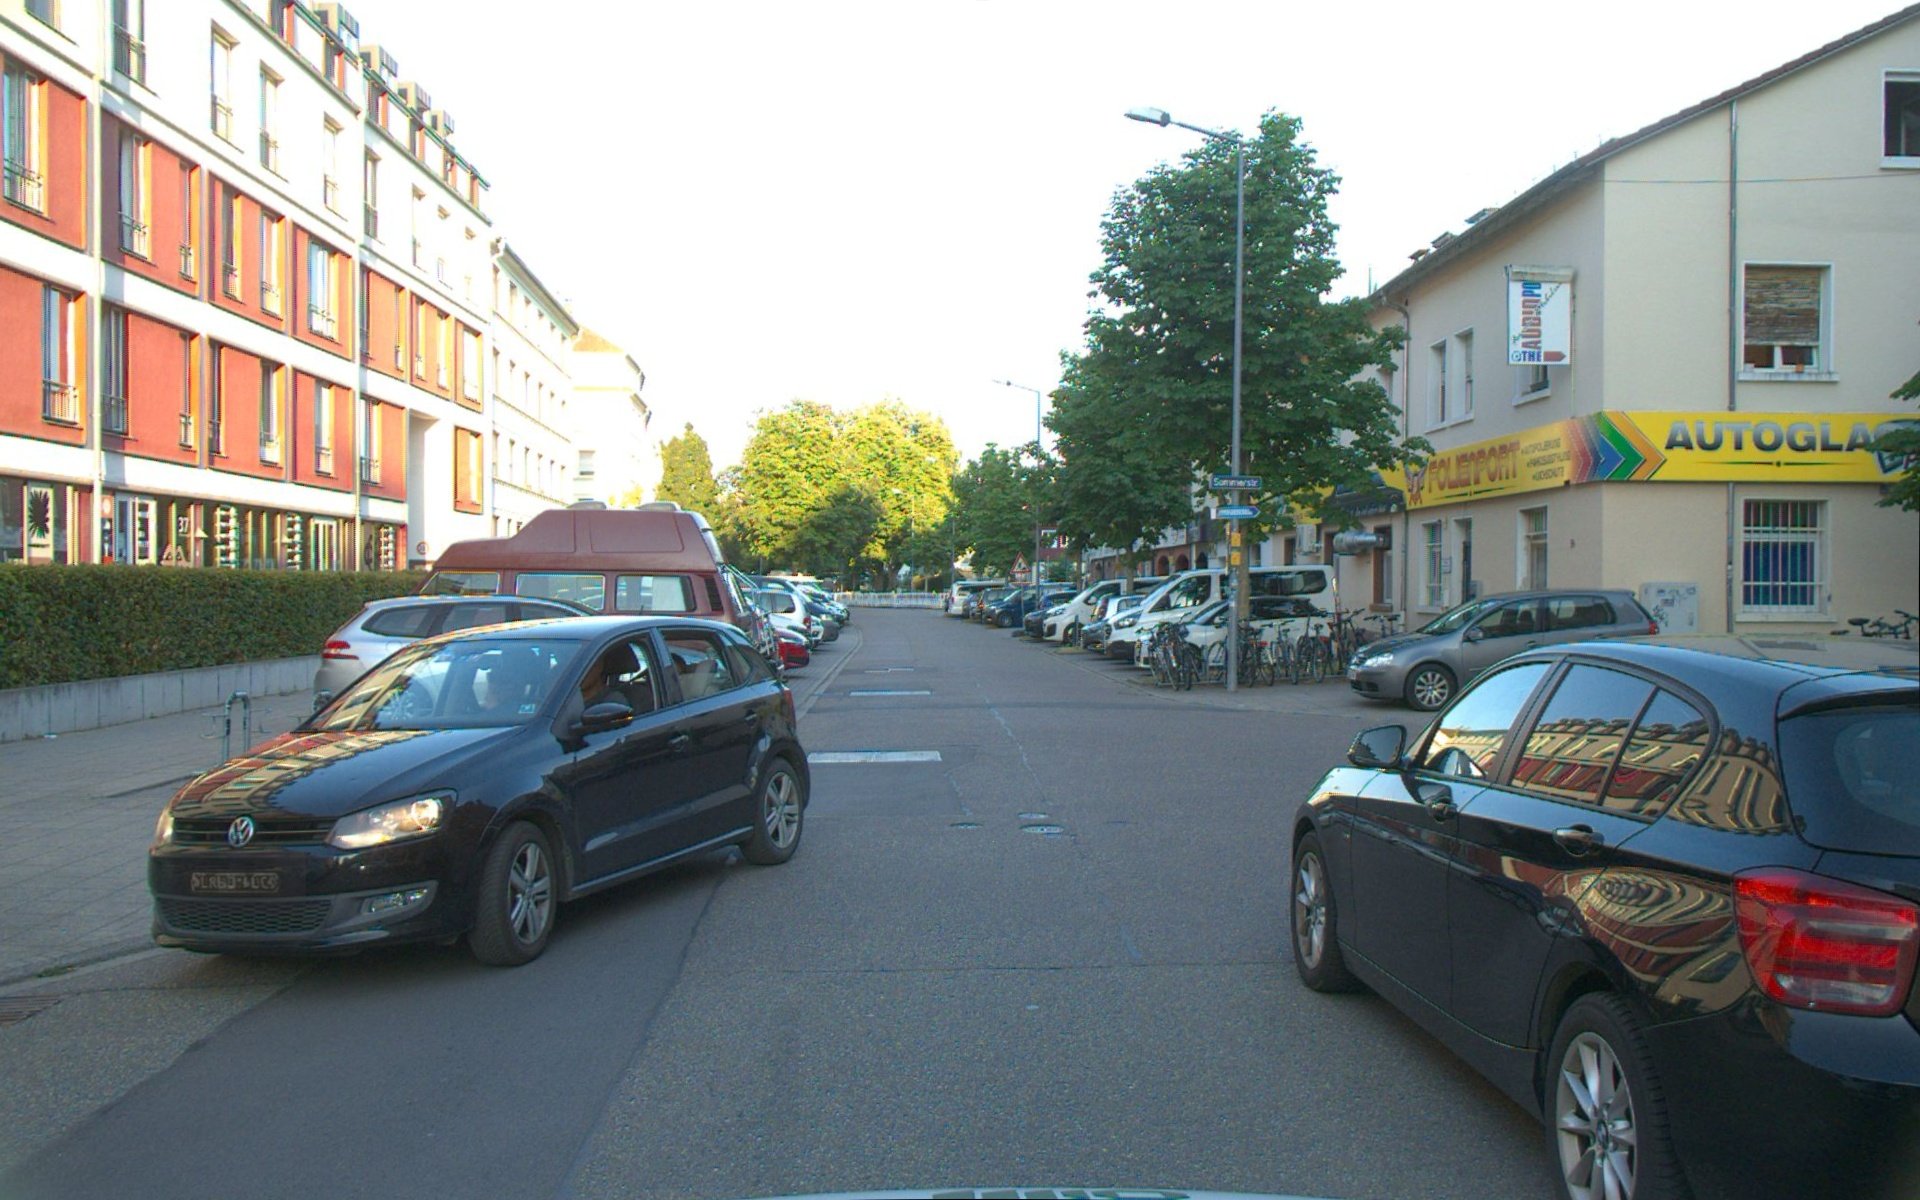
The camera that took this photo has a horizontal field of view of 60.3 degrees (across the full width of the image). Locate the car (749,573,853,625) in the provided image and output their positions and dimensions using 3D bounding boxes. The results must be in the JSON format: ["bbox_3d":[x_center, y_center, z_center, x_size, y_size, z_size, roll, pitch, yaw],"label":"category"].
[{"bbox_3d":[-7.045,-0.058,73.806,4.442,2.171,1.999,1,0,-2],"label":"car"}]

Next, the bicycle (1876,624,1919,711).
[{"bbox_3d":[12.398,0.847,20.500,1.812,1.027,0.428,1,2,-1],"label":"bicycle"}]

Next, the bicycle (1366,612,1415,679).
[{"bbox_3d":[7.092,0.733,27.278,0.380,1.035,1.481,-1,0,-1],"label":"bicycle"}]

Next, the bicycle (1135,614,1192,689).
[{"bbox_3d":[3.306,0.817,27.027,0.430,1.150,2.014,-1,0,-7],"label":"bicycle"}]

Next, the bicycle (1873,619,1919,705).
[{"bbox_3d":[12.506,0.795,21.030,1.569,1.059,0.343,1,2,-1],"label":"bicycle"}]

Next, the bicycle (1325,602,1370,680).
[{"bbox_3d":[6.344,0.655,27.130,0.346,1.221,1.481,-1,0,-1],"label":"bicycle"}]

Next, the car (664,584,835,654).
[{"bbox_3d":[-5.400,0.475,42.791,4.171,1.681,1.887,1,0,-2],"label":"car"}]

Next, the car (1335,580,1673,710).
[{"bbox_3d":[7.229,0.576,22.240,3.968,1.540,1.756,-1,2,-1],"label":"car"}]

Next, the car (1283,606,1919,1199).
[{"bbox_3d":[2.292,0.785,4.920,1.687,1.449,4.252,1,0,-2],"label":"car"}]

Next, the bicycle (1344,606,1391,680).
[{"bbox_3d":[6.696,0.687,27.221,0.346,1.163,1.481,-1,0,-1],"label":"bicycle"}]

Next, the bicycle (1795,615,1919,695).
[{"bbox_3d":[12.276,0.755,22.587,1.570,1.037,0.343,1,2,-3],"label":"bicycle"}]

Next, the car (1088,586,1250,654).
[{"bbox_3d":[5.276,0.492,42.193,3.832,1.552,1.939,-2,0,-1],"label":"car"}]

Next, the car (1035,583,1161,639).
[{"bbox_3d":[4.913,0.390,59.220,4.231,1.835,1.810,-2,0,-3],"label":"car"}]

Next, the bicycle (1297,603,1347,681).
[{"bbox_3d":[5.923,0.671,27.127,0.436,1.221,1.481,-1,0,-1],"label":"bicycle"}]

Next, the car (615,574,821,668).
[{"bbox_3d":[-5.204,0.436,35.967,4.171,1.868,1.999,1,0,-2],"label":"car"}]

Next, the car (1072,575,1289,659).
[{"bbox_3d":[5.198,0.389,39.477,4.844,1.772,2.049,-2,0,-1],"label":"car"}]

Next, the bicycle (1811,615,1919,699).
[{"bbox_3d":[12.383,0.766,22.243,1.696,1.088,0.343,1,2,-3],"label":"bicycle"}]

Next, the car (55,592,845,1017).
[{"bbox_3d":[-2.143,0.772,8.155,1.618,1.480,3.943,-3,0,20],"label":"car"}]

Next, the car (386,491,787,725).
[{"bbox_3d":[-4.480,0.084,20.388,4.419,2.629,2.000,1,0,0],"label":"car"}]

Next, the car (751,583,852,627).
[{"bbox_3d":[-6.792,0.214,71.176,4.171,1.780,1.999,1,0,-2],"label":"car"}]

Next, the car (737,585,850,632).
[{"bbox_3d":[-6.358,0.311,63.675,4.171,1.650,1.999,1,0,-3],"label":"car"}]

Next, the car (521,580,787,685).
[{"bbox_3d":[-5.044,0.524,27.768,4.125,1.603,1.999,1,0,-4],"label":"car"}]

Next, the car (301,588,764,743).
[{"bbox_3d":[-4.445,0.673,17.812,4.525,1.486,1.879,1,0,-5],"label":"car"}]

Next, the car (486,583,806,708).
[{"bbox_3d":[-4.260,0.602,22.964,4.125,1.565,1.790,1,0,-4],"label":"car"}]

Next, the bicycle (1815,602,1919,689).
[{"bbox_3d":[12.972,0.642,23.130,1.822,1.169,0.343,1,2,-1],"label":"bicycle"}]

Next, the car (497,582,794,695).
[{"bbox_3d":[-4.785,0.565,25.516,4.120,1.565,1.843,2,0,4],"label":"car"}]

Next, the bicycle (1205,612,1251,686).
[{"bbox_3d":[4.405,0.780,27.278,0.378,1.133,2.017,-1,0,-1],"label":"bicycle"}]

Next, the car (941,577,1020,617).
[{"bbox_3d":[1.076,-0.154,87.282,3.892,1.945,2.046,-2,0,-7],"label":"car"}]

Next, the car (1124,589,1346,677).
[{"bbox_3d":[5.174,0.591,31.425,3.841,1.476,1.767,-2,0,-4],"label":"car"}]

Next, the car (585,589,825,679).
[{"bbox_3d":[-4.647,0.601,30.563,4.124,1.516,1.849,1,0,-1],"label":"car"}]

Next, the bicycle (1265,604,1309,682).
[{"bbox_3d":[5.356,0.683,27.144,0.378,1.221,1.481,-1,0,-1],"label":"bicycle"}]

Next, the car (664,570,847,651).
[{"bbox_3d":[-5.544,0.284,45.342,4.753,2.056,1.906,1,0,-2],"label":"car"}]

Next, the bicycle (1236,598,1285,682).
[{"bbox_3d":[4.939,0.633,27.288,0.378,1.327,2.017,-1,0,-1],"label":"bicycle"}]

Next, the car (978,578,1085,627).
[{"bbox_3d":[3.094,0.096,71.838,4.393,1.945,1.685,-2,0,-7],"label":"car"}]

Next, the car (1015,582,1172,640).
[{"bbox_3d":[4.335,0.343,54.293,4.846,1.718,2.076,-2,0,-3],"label":"car"}]

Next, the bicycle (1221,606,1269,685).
[{"bbox_3d":[4.684,0.720,27.272,0.378,1.221,2.017,-1,0,-1],"label":"bicycle"}]

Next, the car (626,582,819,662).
[{"bbox_3d":[-5.455,0.494,38.433,4.171,1.689,1.999,1,0,-2],"label":"car"}]

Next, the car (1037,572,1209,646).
[{"bbox_3d":[4.831,0.246,49.509,4.846,1.992,2.048,-2,0,-3],"label":"car"}]

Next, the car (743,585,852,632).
[{"bbox_3d":[-6.502,0.314,66.413,4.171,1.744,1.999,1,0,-2],"label":"car"}]

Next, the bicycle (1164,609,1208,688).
[{"bbox_3d":[3.709,0.771,27.225,0.378,1.221,2.017,-1,0,-1],"label":"bicycle"}]

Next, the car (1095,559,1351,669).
[{"bbox_3d":[5.359,0.269,34.216,4.889,2.018,2.219,-2,0,-1],"label":"car"}]
